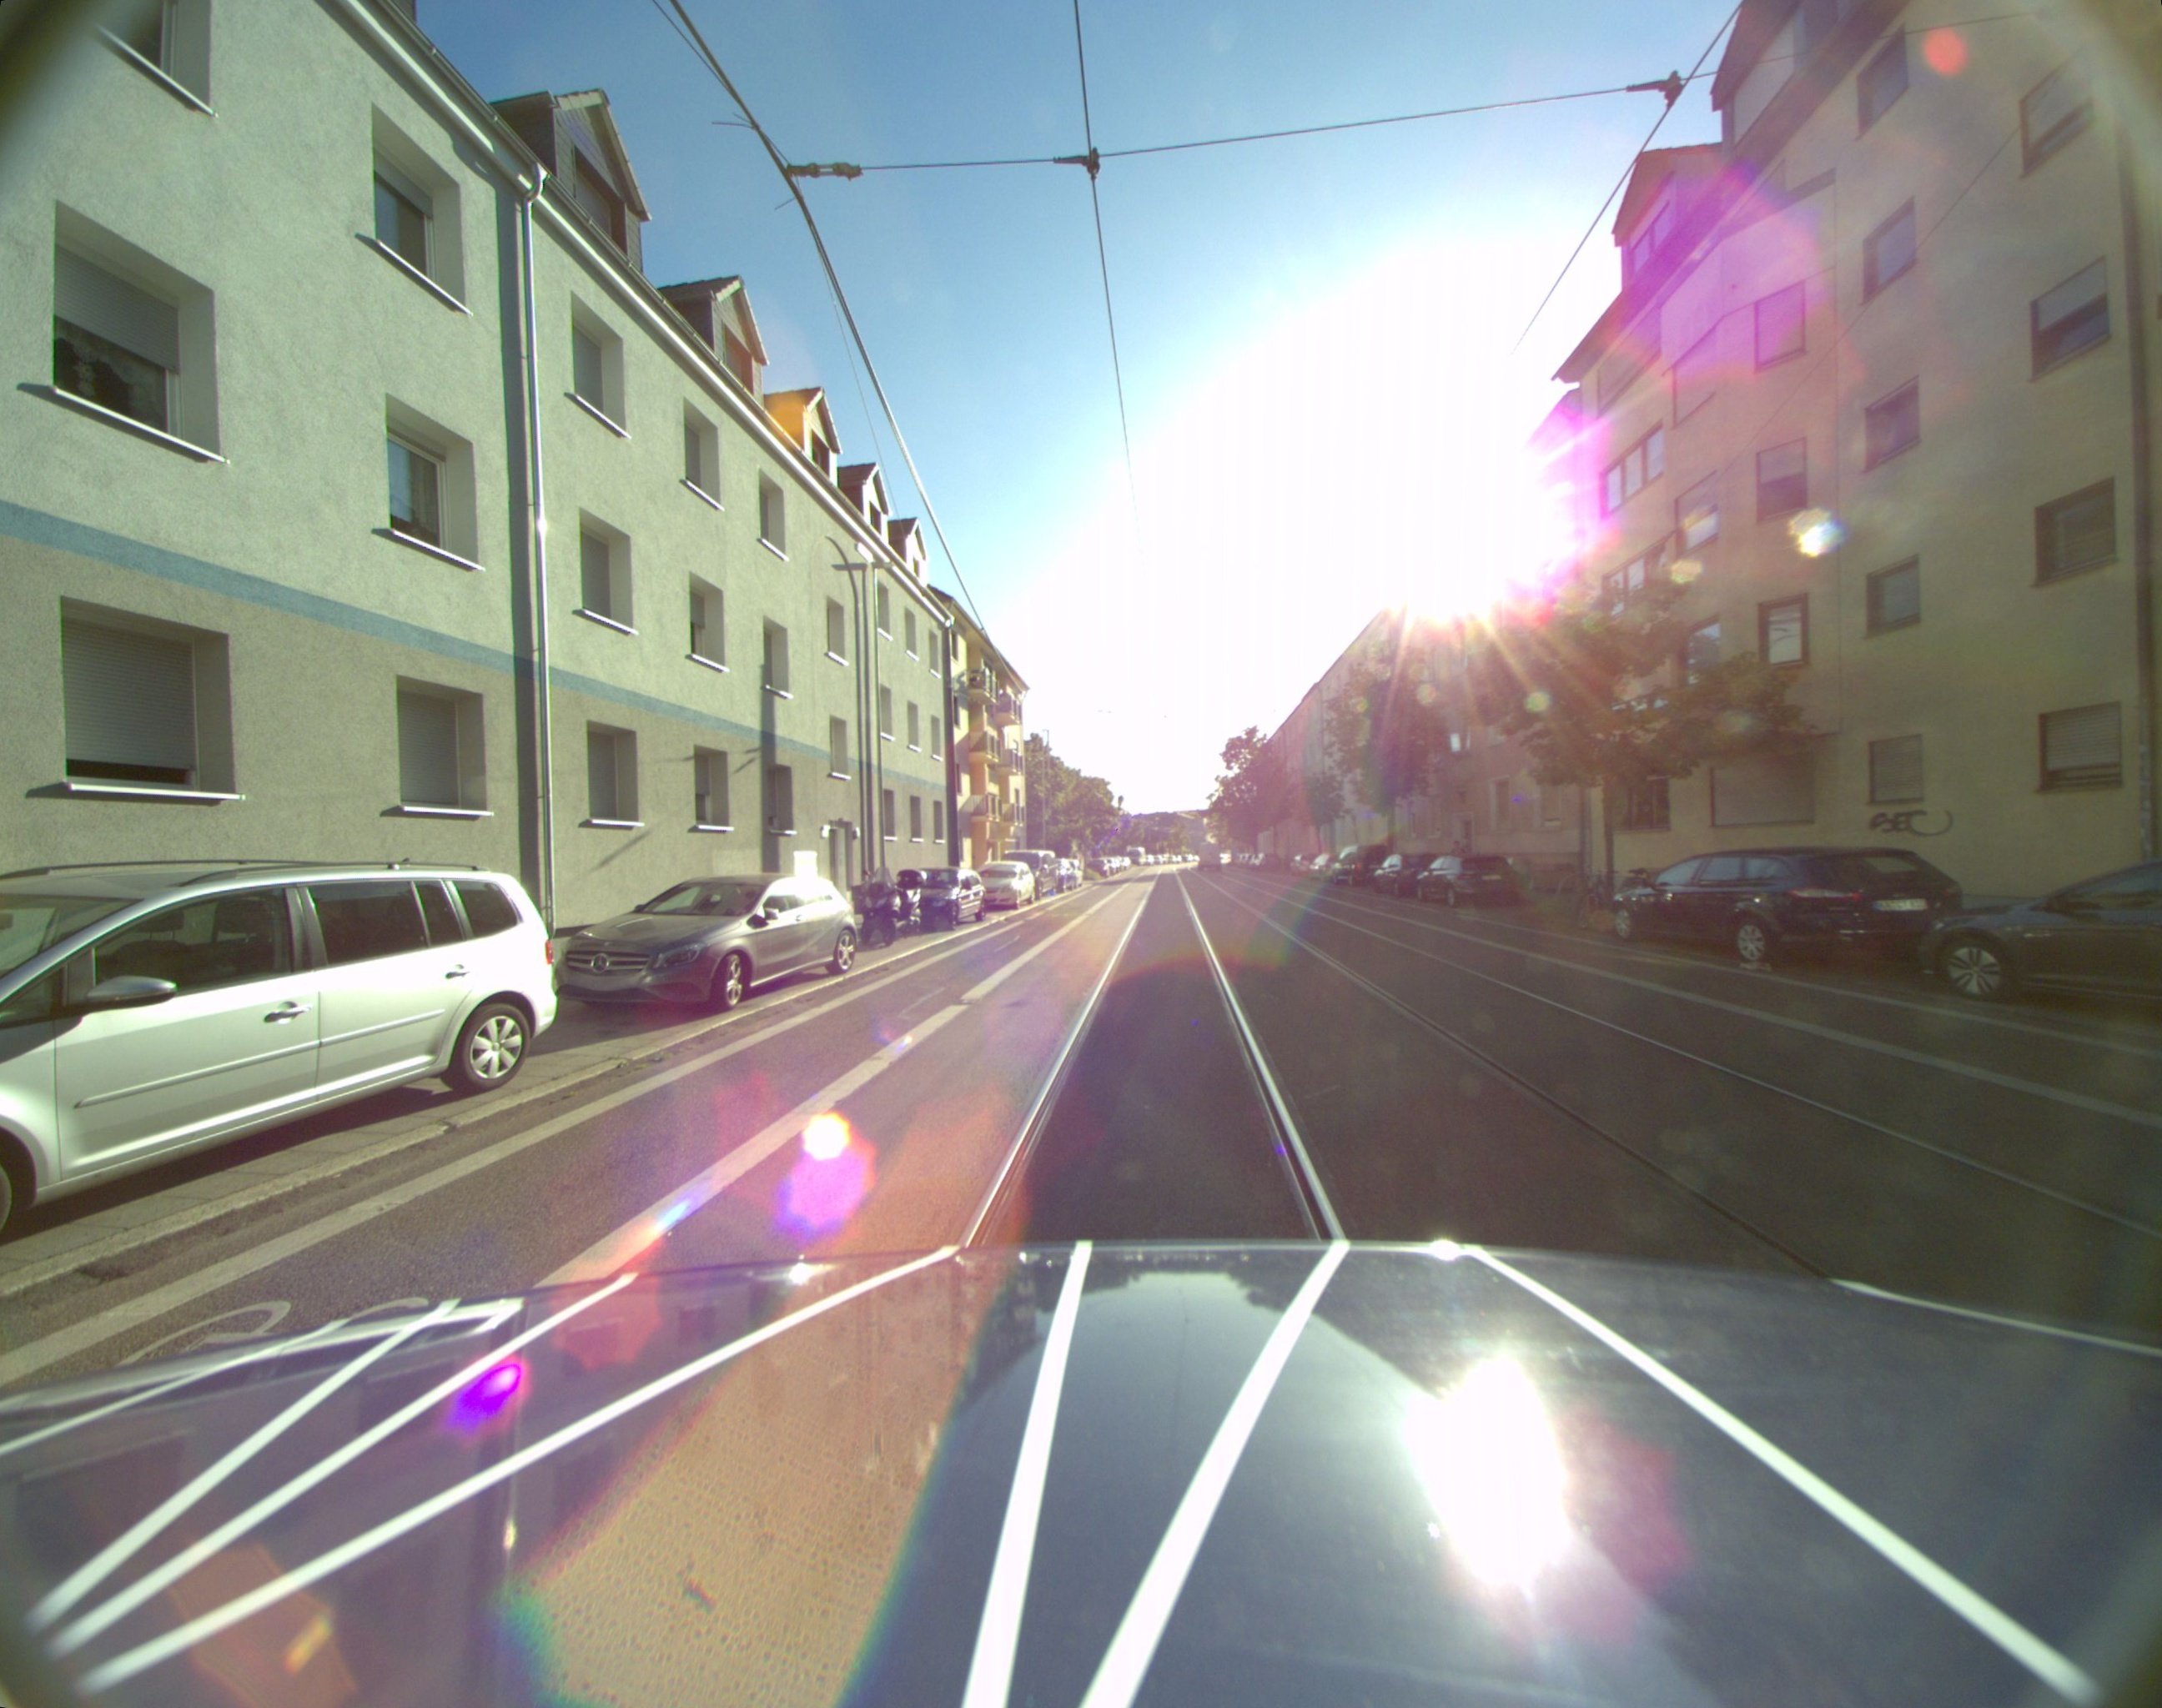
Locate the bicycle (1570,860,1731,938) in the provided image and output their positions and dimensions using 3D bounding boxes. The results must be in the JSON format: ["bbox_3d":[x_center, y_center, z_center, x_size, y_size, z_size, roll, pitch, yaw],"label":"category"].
[{"bbox_3d":[10.318,0.804,13.834,2.297,1.326,0.700,-2,1,7],"label":"bicycle"}]

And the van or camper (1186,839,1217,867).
[{"bbox_3d":[11.703,-0.119,74.264,2.375,2.538,6.836,-2,0,5],"label":"van or camper"}]

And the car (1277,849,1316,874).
[{"bbox_3d":[13.803,0.475,48.903,1.768,1.464,4.755,-2,0,8],"label":"car"}]

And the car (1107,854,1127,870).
[{"bbox_3d":[3.770,0.788,78.950,1.828,1.562,4.480,0,0,6],"label":"car"}]

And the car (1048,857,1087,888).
[{"bbox_3d":[-0.667,0.948,40.311,1.556,1.533,3.634,0,0,7],"label":"car"}]

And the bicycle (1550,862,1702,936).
[{"bbox_3d":[10.407,0.850,14.562,2.297,1.326,0.700,-2,1,7],"label":"bicycle"}]

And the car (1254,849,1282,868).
[{"bbox_3d":[16.529,0.391,67.206,1.687,1.614,4.049,-2,0,3],"label":"car"}]

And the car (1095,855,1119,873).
[{"bbox_3d":[2.370,0.846,68.651,1.828,1.562,4.480,0,0,6],"label":"car"}]

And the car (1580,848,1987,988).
[{"bbox_3d":[9.341,0.711,10.811,1.769,1.533,4.735,-2,0,6],"label":"car"}]

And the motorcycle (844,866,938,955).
[{"bbox_3d":[-3.647,1.021,14.897,0.807,1.513,2.710,1,1,8],"label":"motorcycle"}]

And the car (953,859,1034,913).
[{"bbox_3d":[-2.764,0.966,24.822,1.804,1.562,3.905,0,0,6],"label":"car"}]

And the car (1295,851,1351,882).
[{"bbox_3d":[12.531,0.607,39.645,1.769,1.464,4.860,-2,0,5],"label":"car"}]

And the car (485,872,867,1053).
[{"bbox_3d":[-4.475,1.063,9.352,1.867,1.546,4.369,0,0,9],"label":"car"}]

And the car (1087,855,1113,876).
[{"bbox_3d":[1.513,0.870,58.794,1.612,1.562,4.480,0,0,7],"label":"car"}]

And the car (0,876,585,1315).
[{"bbox_3d":[-5.177,1.029,4.071,1.758,1.656,4.627,0,0,4],"label":"car"}]

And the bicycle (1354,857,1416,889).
[{"bbox_3d":[12.237,0.751,30.641,2.116,1.099,0.747,-4,0,5],"label":"bicycle"}]

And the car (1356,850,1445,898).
[{"bbox_3d":[11.230,0.658,26.998,1.769,1.464,4.183,-4,0,7],"label":"car"}]

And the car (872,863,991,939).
[{"bbox_3d":[-3.486,1.040,18.435,1.611,1.562,3.906,0,0,8],"label":"car"}]

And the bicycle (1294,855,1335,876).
[{"bbox_3d":[13.675,0.668,44.539,2.148,1.136,0.660,-3,0,3],"label":"bicycle"}]

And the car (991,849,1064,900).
[{"bbox_3d":[-2.068,0.750,30.843,1.933,1.910,5.006,0,0,8],"label":"car"}]

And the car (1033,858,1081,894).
[{"bbox_3d":[-1.084,0.988,35.733,1.612,1.562,4.221,0,0,7],"label":"car"}]

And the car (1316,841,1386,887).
[{"bbox_3d":[12.180,0.410,34.546,1.769,1.835,4.425,-4,0,4],"label":"car"}]

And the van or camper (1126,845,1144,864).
[{"bbox_3d":[7.837,0.025,109.418,2.089,2.548,5.696,-2,1,9],"label":"van or camper"}]

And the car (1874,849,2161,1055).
[{"bbox_3d":[9.117,0.747,5.876,1.739,1.533,4.129,-2,0,2],"label":"car"}]

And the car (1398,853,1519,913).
[{"bbox_3d":[10.793,0.760,22.071,1.769,1.464,4.043,-4,0,6],"label":"car"}]
